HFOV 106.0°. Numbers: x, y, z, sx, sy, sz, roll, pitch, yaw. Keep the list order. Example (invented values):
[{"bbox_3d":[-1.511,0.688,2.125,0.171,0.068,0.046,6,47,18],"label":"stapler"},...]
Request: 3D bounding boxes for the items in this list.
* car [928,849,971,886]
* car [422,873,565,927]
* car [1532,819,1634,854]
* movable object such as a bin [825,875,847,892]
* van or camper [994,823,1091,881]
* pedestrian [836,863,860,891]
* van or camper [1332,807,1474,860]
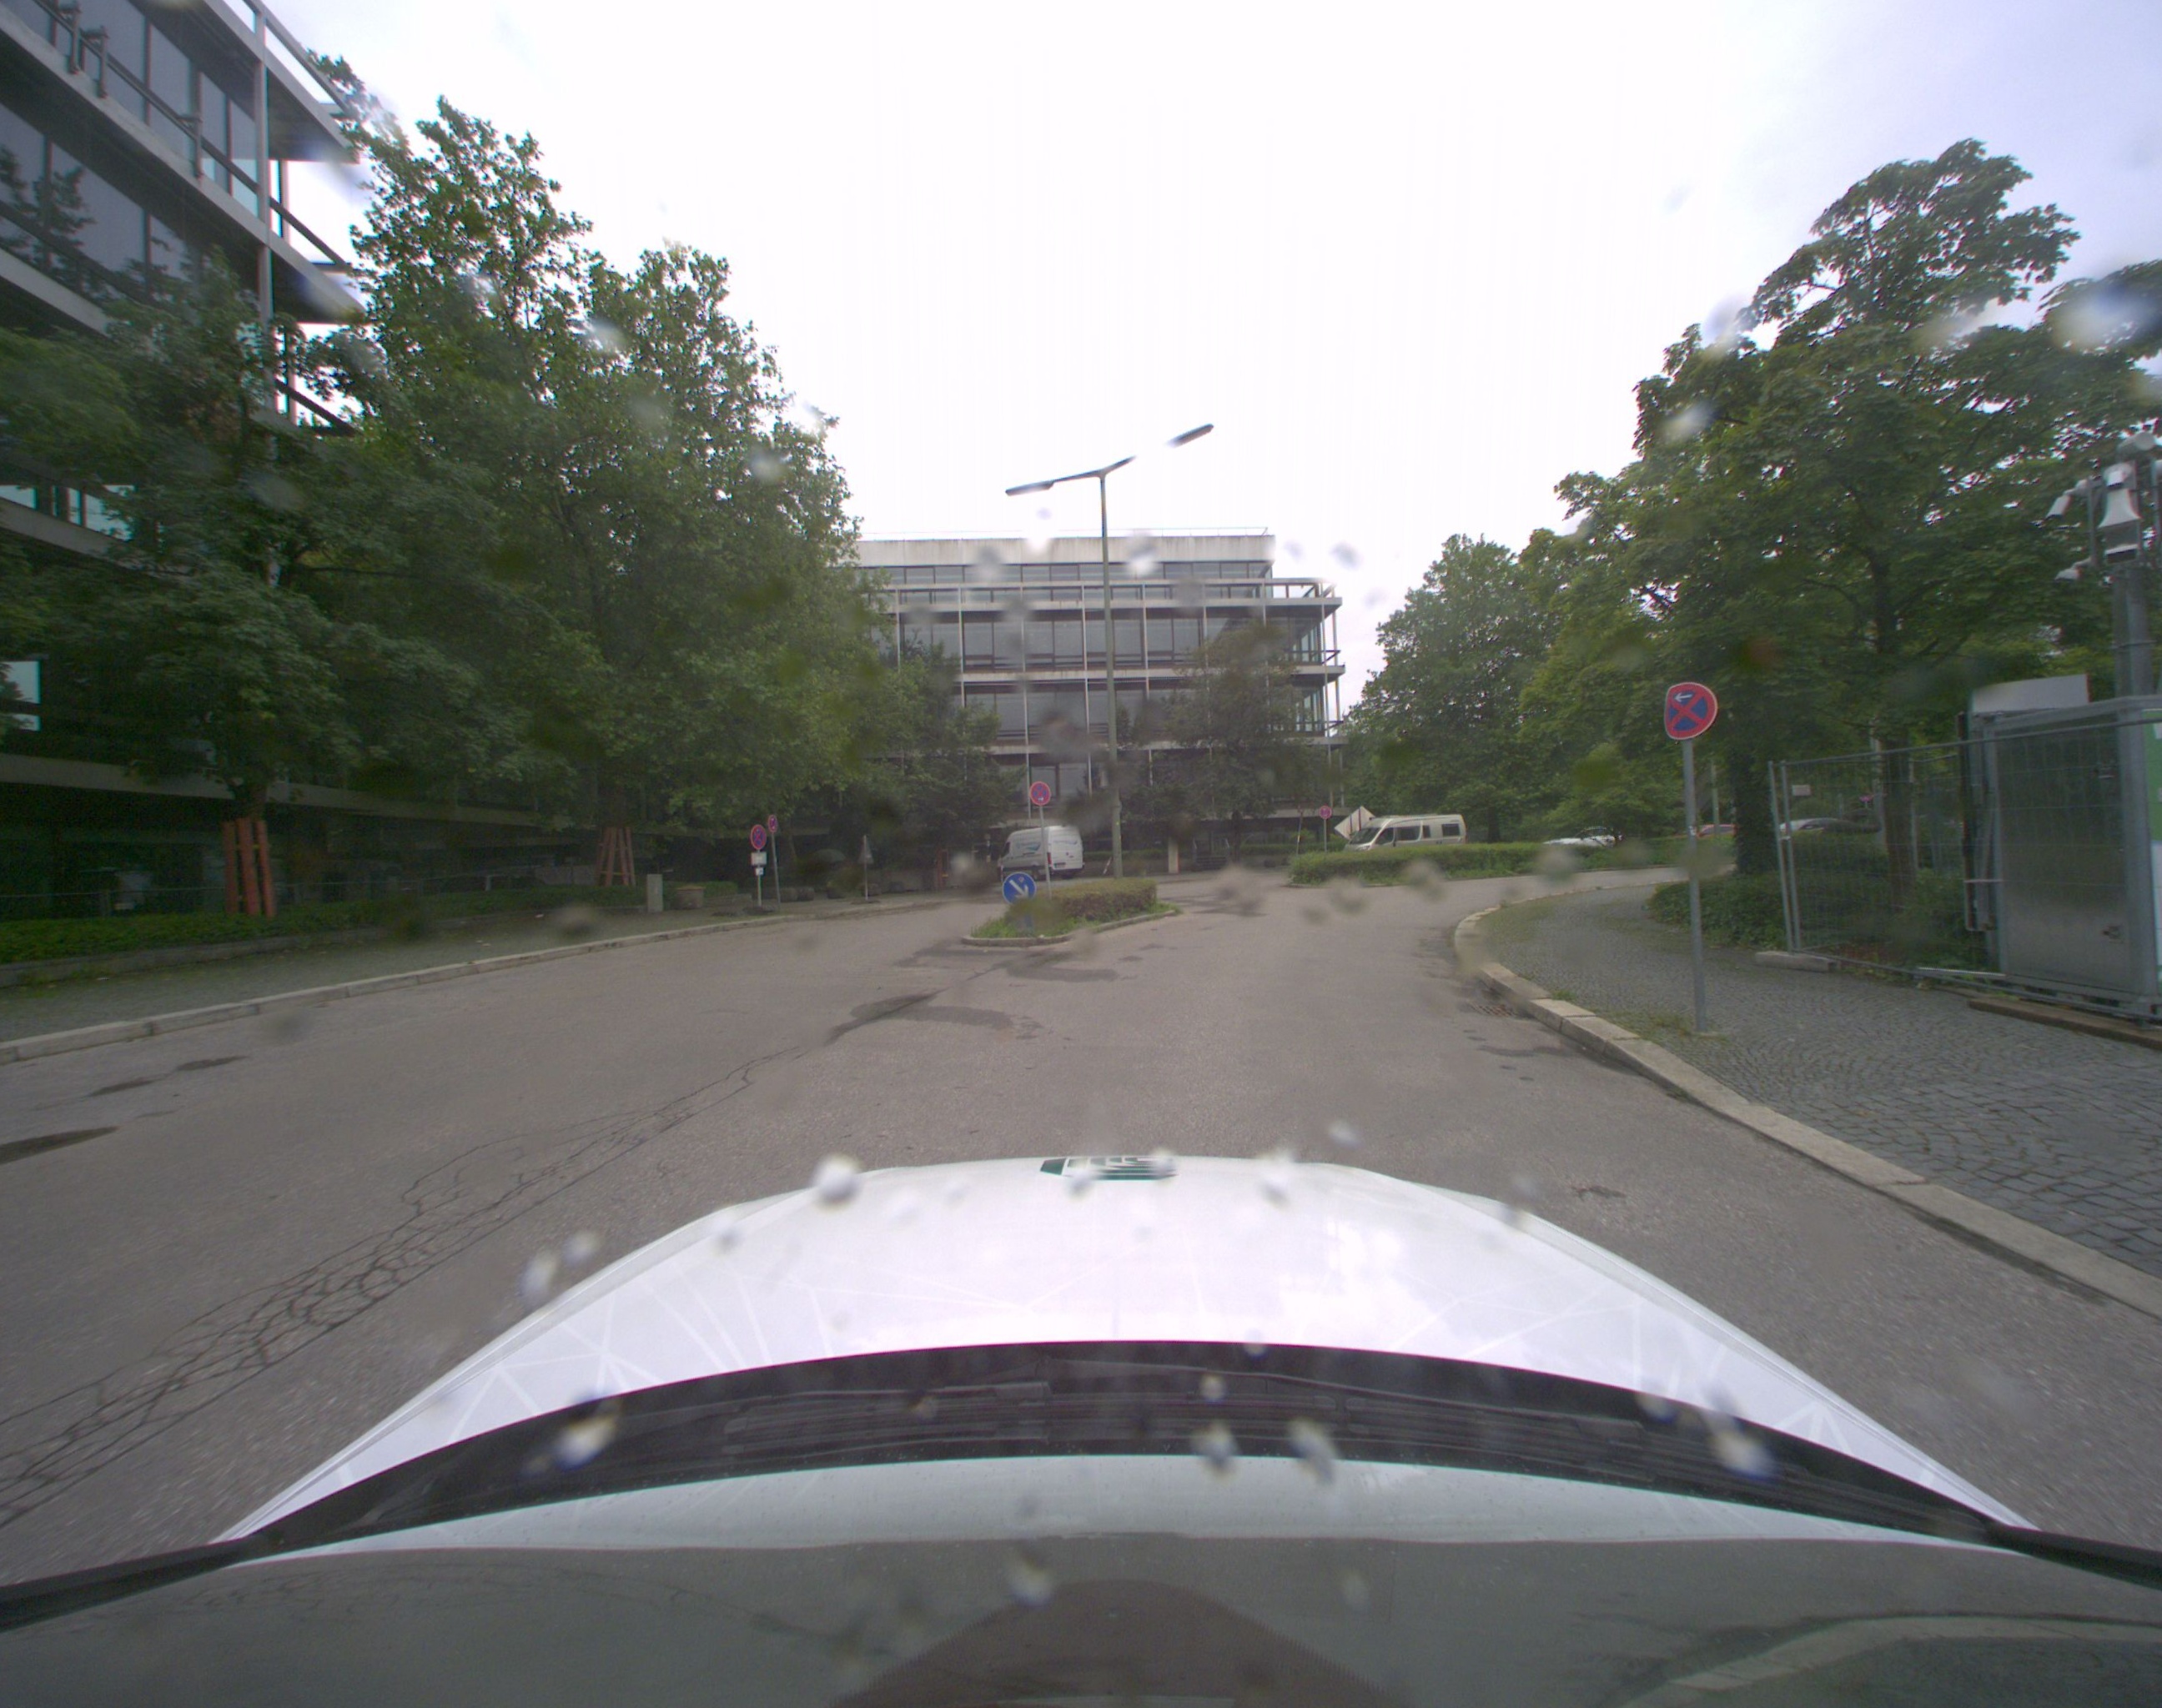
[{"bbox_3d":[-6.665,0.647,41.707,1.940,1.721,4.228,-3,0,-7],"label":"car"},{"bbox_3d":[-19.070,1.442,26.672,1.902,1.473,3.857,-2,0,-2],"label":"car"},{"bbox_3d":[25.397,-0.870,41.291,3.977,1.508,1.998,-3,0,-3],"label":"car"},{"bbox_3d":[-11.540,1.368,38.346,0.832,0.753,0.572,-2,0,-1],"label":"movable object such as a bin"},{"bbox_3d":[-2.100,-0.009,41.236,2.169,2.580,6.476,-2,-2,-29],"label":"van or camper"},{"bbox_3d":[-10.987,1.098,38.424,0.923,1.278,0.541,-2,0,-2],"label":"pedestrian"},{"bbox_3d":[15.615,-0.984,39.561,6.415,2.281,2.241,-2,0,-18],"label":"van or camper"}]
